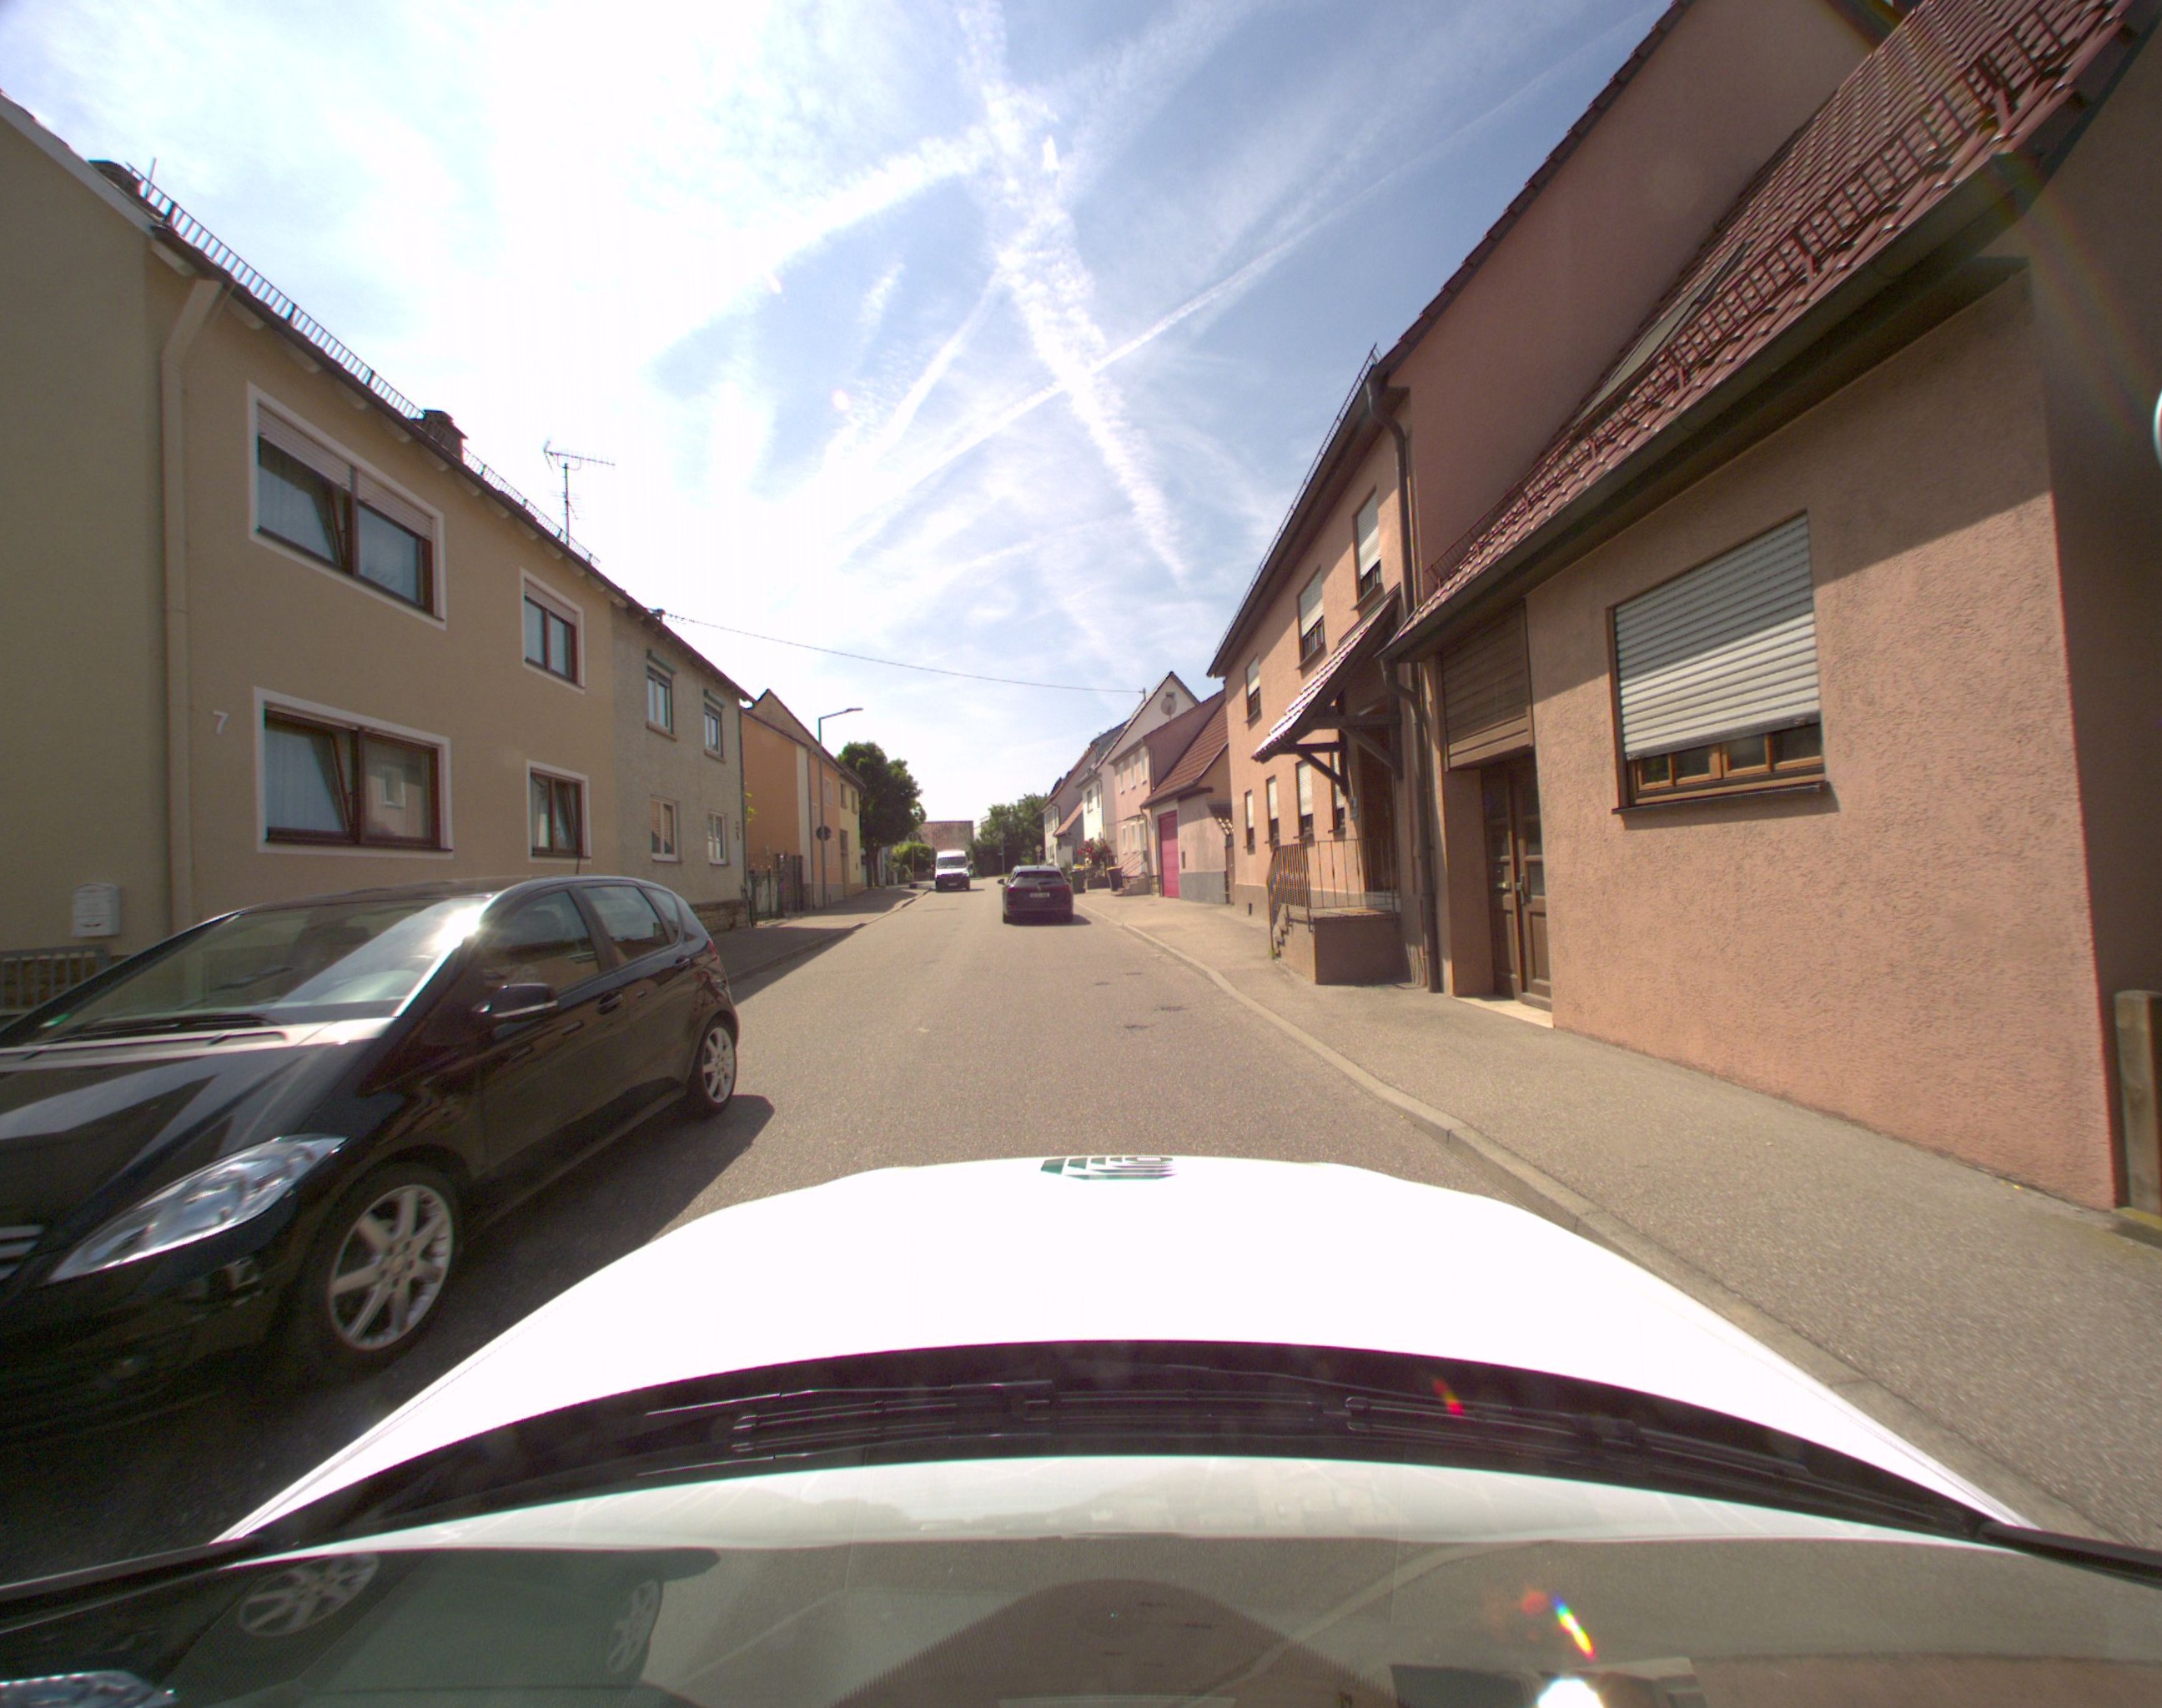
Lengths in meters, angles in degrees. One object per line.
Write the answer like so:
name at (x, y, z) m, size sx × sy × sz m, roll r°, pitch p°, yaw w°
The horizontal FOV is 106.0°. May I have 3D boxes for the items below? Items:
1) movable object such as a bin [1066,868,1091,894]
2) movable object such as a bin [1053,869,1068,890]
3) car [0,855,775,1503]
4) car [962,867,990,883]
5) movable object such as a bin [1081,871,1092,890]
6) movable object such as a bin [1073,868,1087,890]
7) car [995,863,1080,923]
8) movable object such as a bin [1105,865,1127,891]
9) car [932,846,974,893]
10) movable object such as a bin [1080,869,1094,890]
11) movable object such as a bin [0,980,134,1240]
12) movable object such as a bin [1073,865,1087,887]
movable object such as a bin at (-0.117, 1.222, 36.611) m, size 0.876 × 1.074 × 0.869 m, roll -6°, pitch 0°, yaw -12°
movable object such as a bin at (-1.143, 1.406, 45.715) m, size 0.678 × 1.155 × 0.817 m, roll -1°, pitch -1°, yaw -12°
car at (-3.136, 0.852, 4.007) m, size 1.795 × 1.555 × 4.066 m, roll -3°, pitch -1°, yaw -3°
car at (-14.156, 2.875, 110.144) m, size 2.113 × 2.014 × 4.955 m, roll -2°, pitch -1°, yaw 13°
movable object such as a bin at (0.290, 1.388, 43.428) m, size 0.503 × 0.994 × 0.440 m, roll -2°, pitch -1°, yaw -8°
movable object such as a bin at (-0.032, 1.378, 44.772) m, size 0.664 × 1.194 × 0.586 m, roll -2°, pitch -1°, yaw -8°
car at (-1.298, 0.995, 22.064) m, size 1.841 × 1.420 × 4.667 m, roll -1°, pitch -1°, yaw -9°
movable object such as a bin at (1.533, 1.058, 35.613) m, size 0.679 × 1.050 × 0.832 m, roll -6°, pitch 0°, yaw -12°
car at (-7.714, 0.935, 49.523) m, size 2.112 × 2.563 × 5.813 m, roll -3°, pitch -1°, yaw -6°
movable object such as a bin at (0.307, 1.317, 42.480) m, size 0.592 × 1.040 × 0.529 m, roll -2°, pitch -1°, yaw -8°
movable object such as a bin at (-5.124, 1.172, 3.730) m, size 0.751 × 1.060 × 0.679 m, roll -2°, pitch -1°, yaw -1°
movable object such as a bin at (-0.081, 1.250, 45.484) m, size 0.664 × 1.194 × 0.658 m, roll -2°, pitch -1°, yaw -8°
